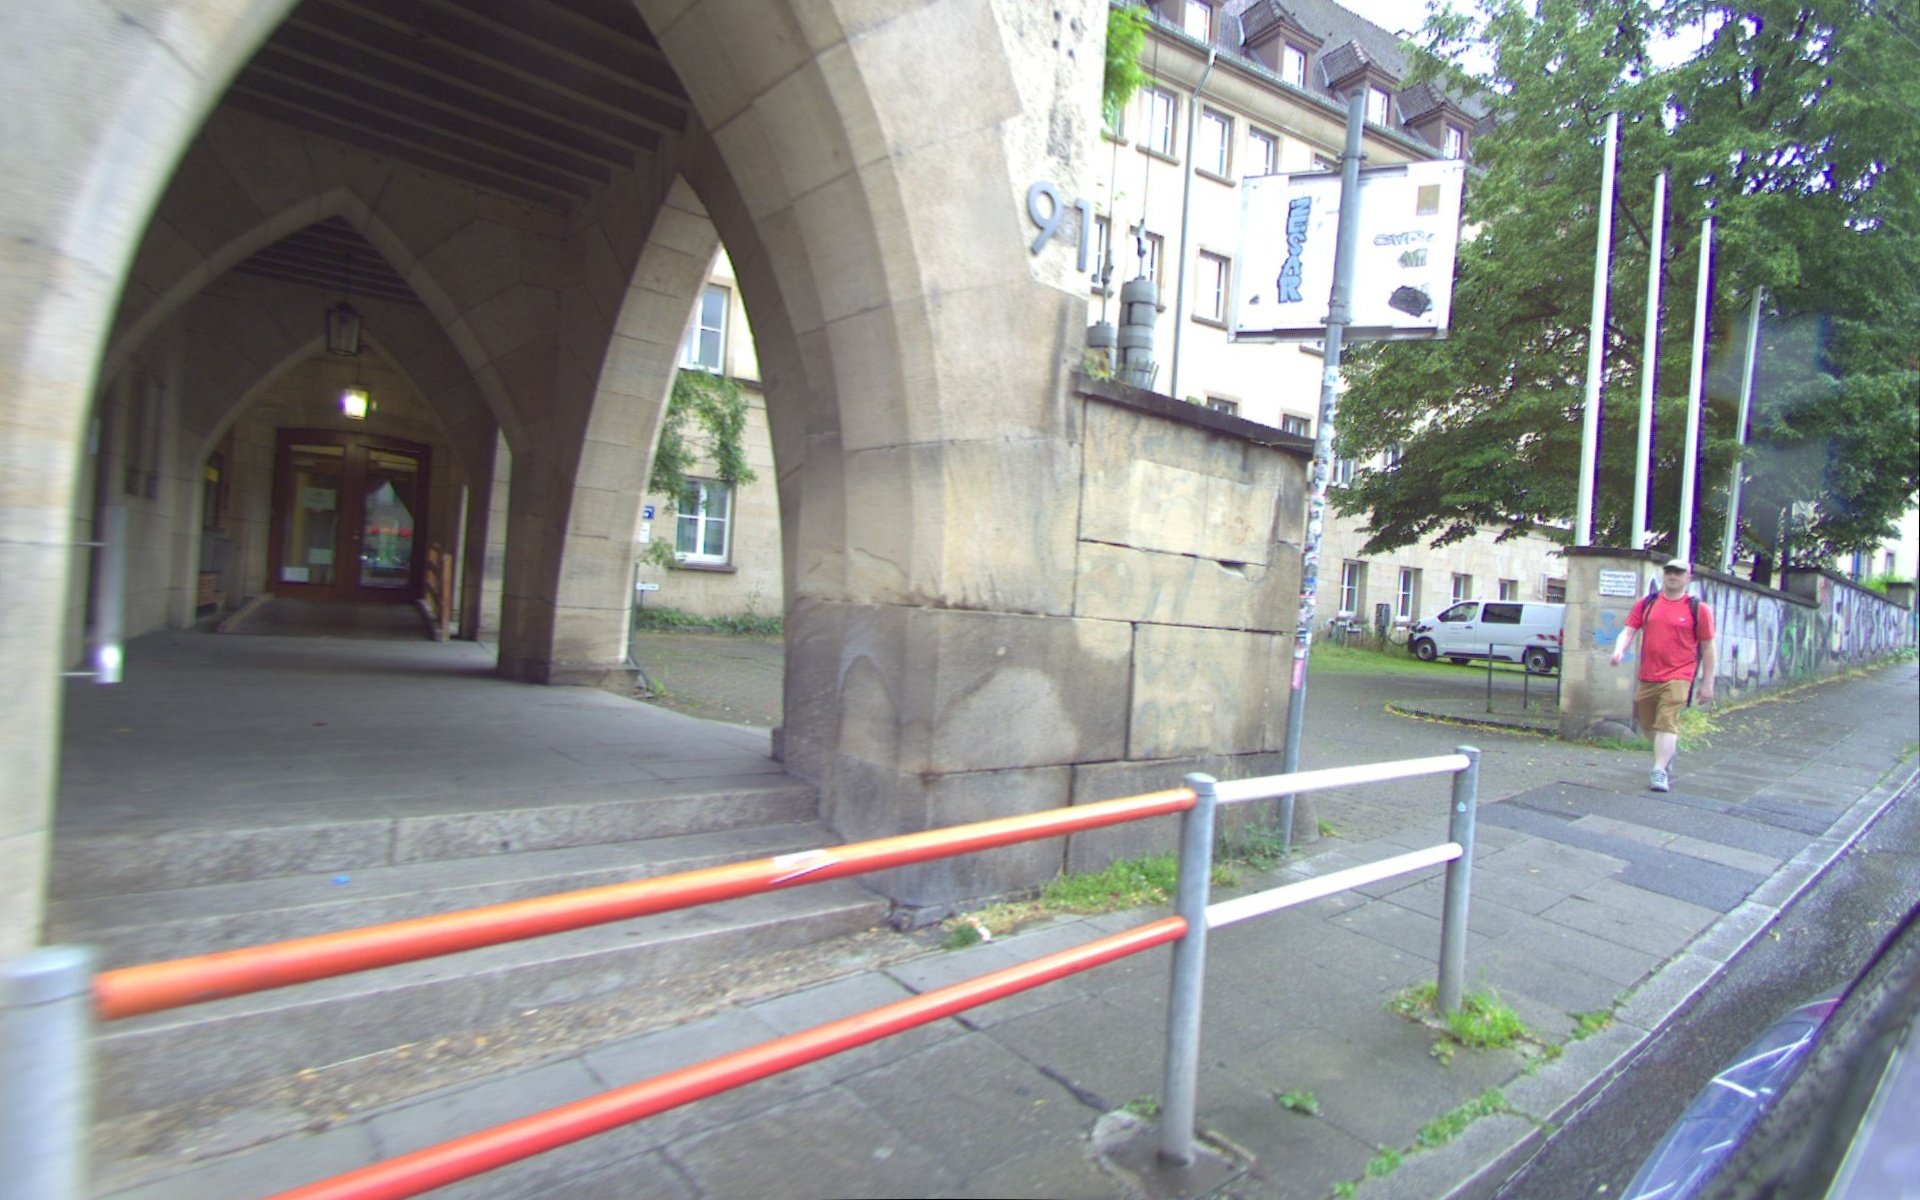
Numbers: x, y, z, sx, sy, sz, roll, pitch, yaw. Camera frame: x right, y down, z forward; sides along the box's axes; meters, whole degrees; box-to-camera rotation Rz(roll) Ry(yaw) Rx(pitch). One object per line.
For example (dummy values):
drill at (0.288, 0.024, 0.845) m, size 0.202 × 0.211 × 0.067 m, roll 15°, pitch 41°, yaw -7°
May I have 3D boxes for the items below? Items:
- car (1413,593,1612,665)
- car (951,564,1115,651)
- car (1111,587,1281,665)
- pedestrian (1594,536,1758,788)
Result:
car at (15.050, 0.717, 27.853) m, size 1.786 × 1.802 × 4.538 m, roll 0°, pitch 0°, yaw -29°
car at (1.283, 0.126, 19.454) m, size 1.579 × 1.488 × 3.923 m, roll 0°, pitch 0°, yaw -22°
car at (5.032, 0.506, 22.135) m, size 1.784 × 1.527 × 3.930 m, roll 0°, pitch 0°, yaw -19°
pedestrian at (5.498, 0.434, 7.774) m, size 0.804 × 1.785 × 0.748 m, roll 1°, pitch 4°, yaw -41°
